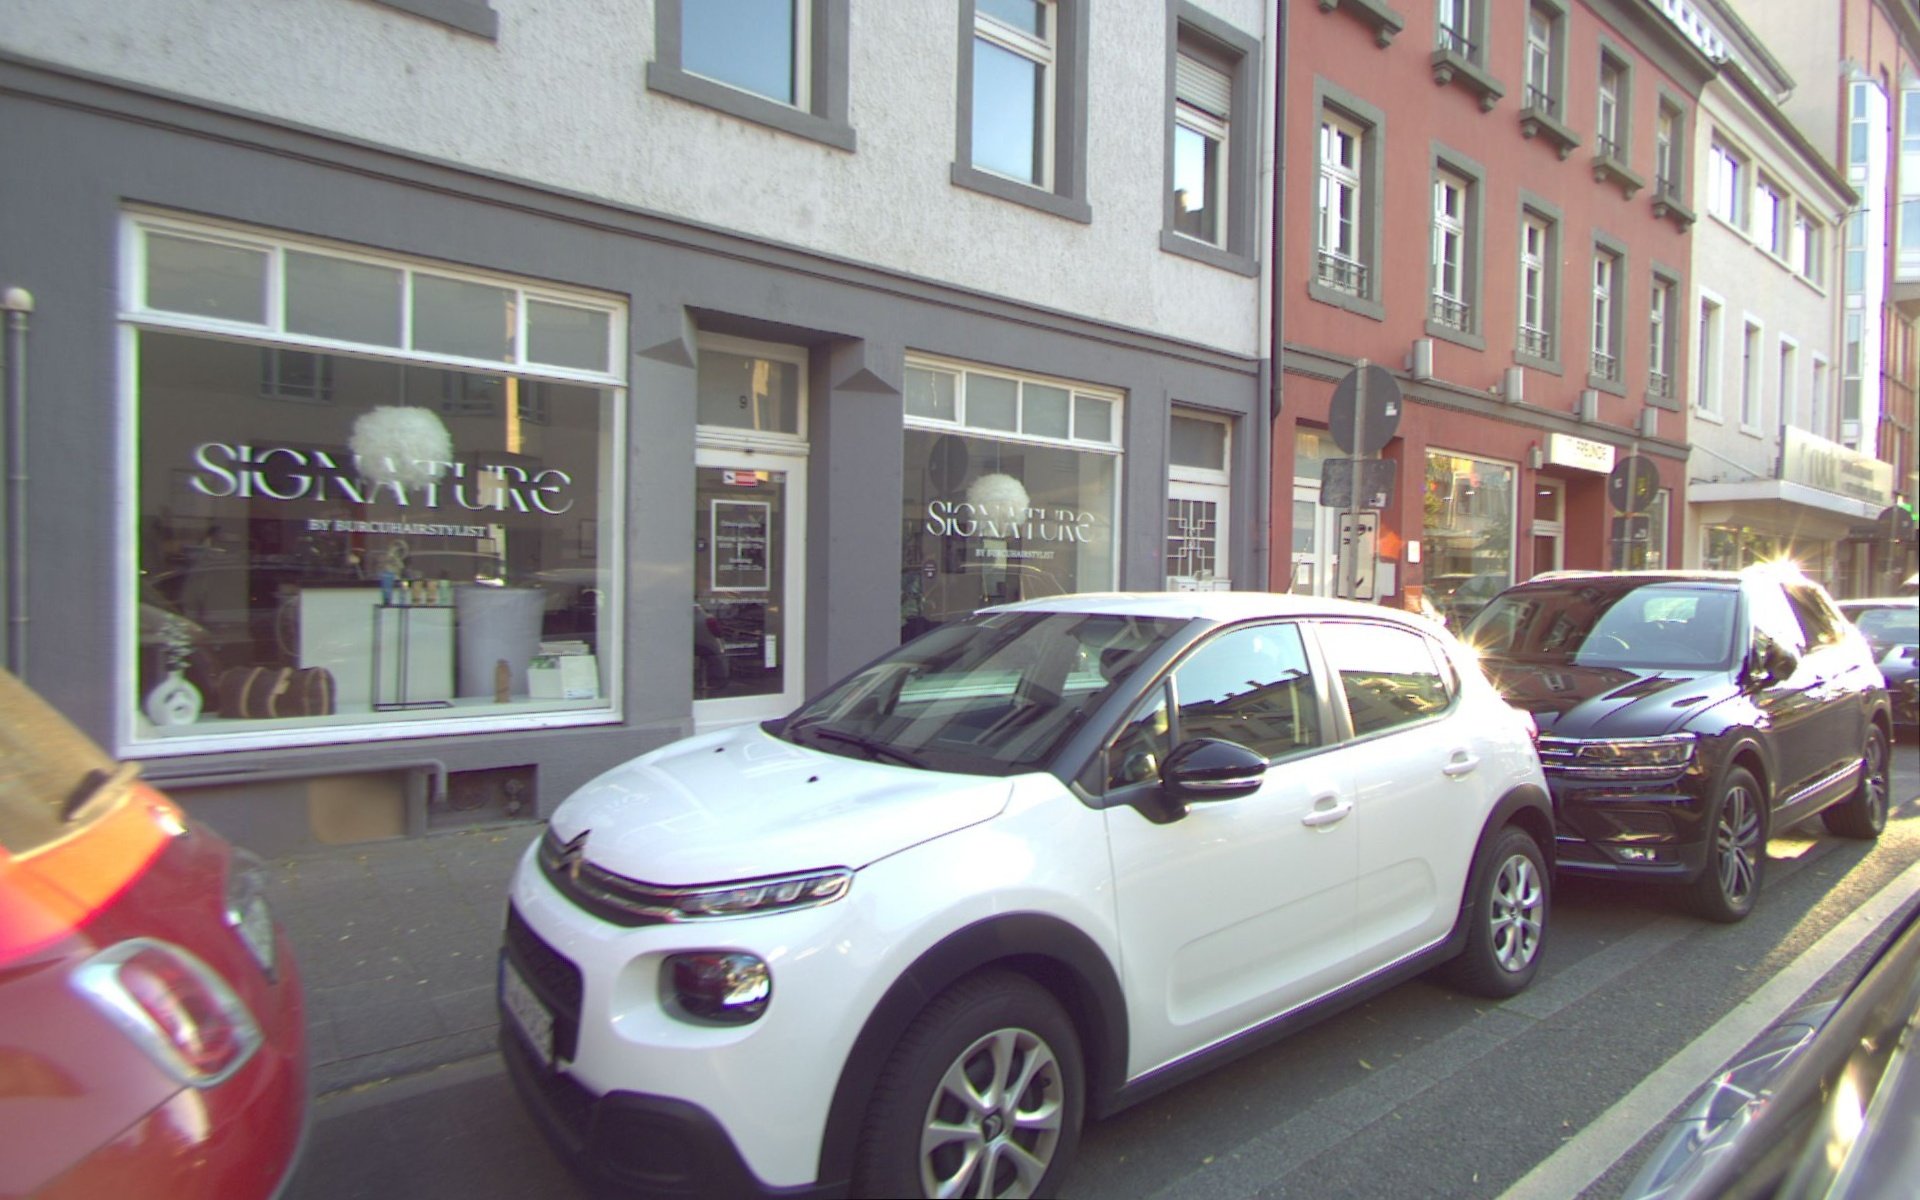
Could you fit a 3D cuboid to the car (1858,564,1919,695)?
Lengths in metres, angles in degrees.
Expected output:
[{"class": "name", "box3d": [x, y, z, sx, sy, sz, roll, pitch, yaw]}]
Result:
[{"class": "car", "box3d": [15.506, 0.387, 15.371, 5.224, 1.799, 1.998, -1, 1, -39]}]

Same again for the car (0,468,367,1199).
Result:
[{"class": "car", "box3d": [-2.701, 0.624, 1.175, 3.357, 1.590, 1.530, 0, 1, -36]}]

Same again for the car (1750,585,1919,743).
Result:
[{"class": "car", "box3d": [10.561, 0.588, 11.343, 4.330, 1.507, 1.689, -1, 0, -38]}]

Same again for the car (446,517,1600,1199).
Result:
[{"class": "car", "box3d": [0.495, 0.632, 3.524, 3.862, 1.593, 1.666, -1, 1, -37]}]

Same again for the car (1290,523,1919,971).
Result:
[{"class": "car", "box3d": [4.001, 0.541, 5.952, 4.379, 1.720, 1.798, -1, 0, -38]}]
